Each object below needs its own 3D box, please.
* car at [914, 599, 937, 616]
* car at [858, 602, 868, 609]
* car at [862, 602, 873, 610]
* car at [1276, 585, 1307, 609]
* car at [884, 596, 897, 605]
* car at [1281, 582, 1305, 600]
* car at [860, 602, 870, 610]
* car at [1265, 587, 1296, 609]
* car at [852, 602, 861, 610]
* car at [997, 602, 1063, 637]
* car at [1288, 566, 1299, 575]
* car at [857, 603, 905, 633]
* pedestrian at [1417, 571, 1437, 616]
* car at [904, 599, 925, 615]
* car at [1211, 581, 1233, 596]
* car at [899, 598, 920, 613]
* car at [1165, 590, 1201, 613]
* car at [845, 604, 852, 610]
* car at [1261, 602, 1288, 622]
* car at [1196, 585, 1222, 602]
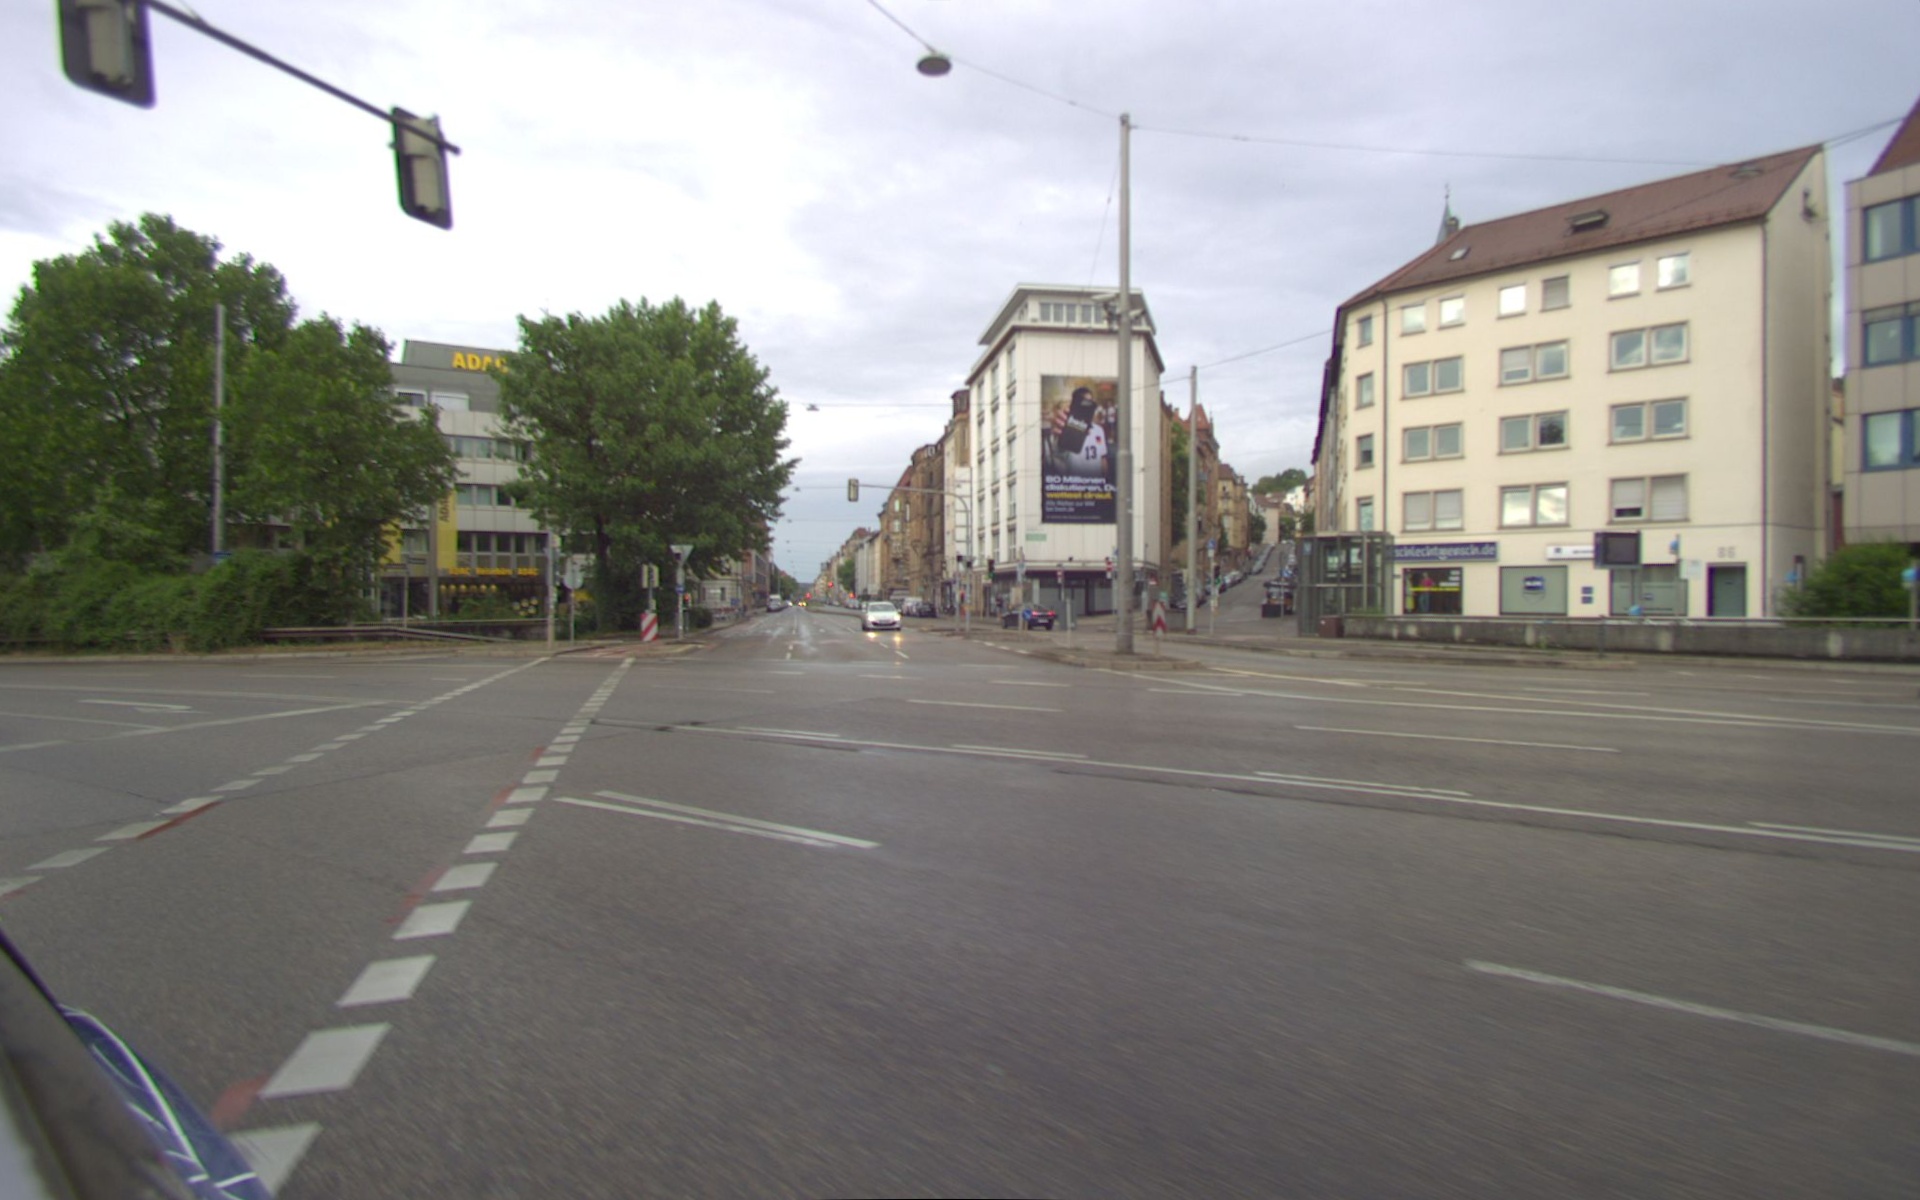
[{"bbox_3d":[-3.309,0.688,96.868,1.847,1.589,4.006,0,0,-7],"label":"car"},{"bbox_3d":[-17.976,1.004,186.798,1.753,1.331,3.683,0,0,-6],"label":"car"},{"bbox_3d":[-15.265,0.920,167.133,1.753,1.331,3.683,0,0,-6],"label":"car"},{"bbox_3d":[22.862,-0.211,69.799,1.749,1.602,3.768,0,0,23],"label":"car"},{"bbox_3d":[-10.100,0.107,147.079,1.753,1.331,3.683,0,0,-6],"label":"car"},{"bbox_3d":[32.020,-0.902,97.126,1.906,1.602,3.970,0,2,23],"label":"car"},{"bbox_3d":[-16.780,1.021,178.143,1.753,1.331,3.683,0,0,-6],"label":"car"},{"bbox_3d":[24.194,-0.108,76.310,1.906,1.602,3.970,0,0,23],"label":"car"},{"bbox_3d":[-19.705,1.130,192.971,1.753,1.331,3.683,0,0,-6],"label":"car"},{"bbox_3d":[3.817,1.045,56.096,1.965,1.857,4.455,0,0,-21],"label":"car"},{"bbox_3d":[63.029,-5.543,191.168,1.902,1.602,3.978,0,2,17],"label":"car"},{"bbox_3d":[-4.034,0.880,51.056,1.968,1.462,4.238,0,0,-10],"label":"car"},{"bbox_3d":[21.318,-0.275,46.203,0.677,2.029,0.559,0,0,42],"label":"pedestrian"},{"bbox_3d":[-4.630,0.692,102.247,1.847,1.589,4.006,0,0,-7],"label":"car"},{"bbox_3d":[30.170,-1.316,116.498,1.906,1.602,3.970,0,0,23],"label":"car"},{"bbox_3d":[-5.349,0.573,106.938,1.847,1.589,4.006,0,0,-7],"label":"car"},{"bbox_3d":[16.322,0.101,74.029,1.906,1.602,3.970,0,0,23],"label":"car"},{"bbox_3d":[-25.787,1.531,233.961,1.753,1.331,3.683,0,0,-6],"label":"car"},{"bbox_3d":[19.935,0.747,64.108,1.395,1.239,3.140,0,0,23],"label":"car"},{"bbox_3d":[24.044,-0.591,97.769,1.906,1.602,3.970,0,0,23],"label":"car"}]
